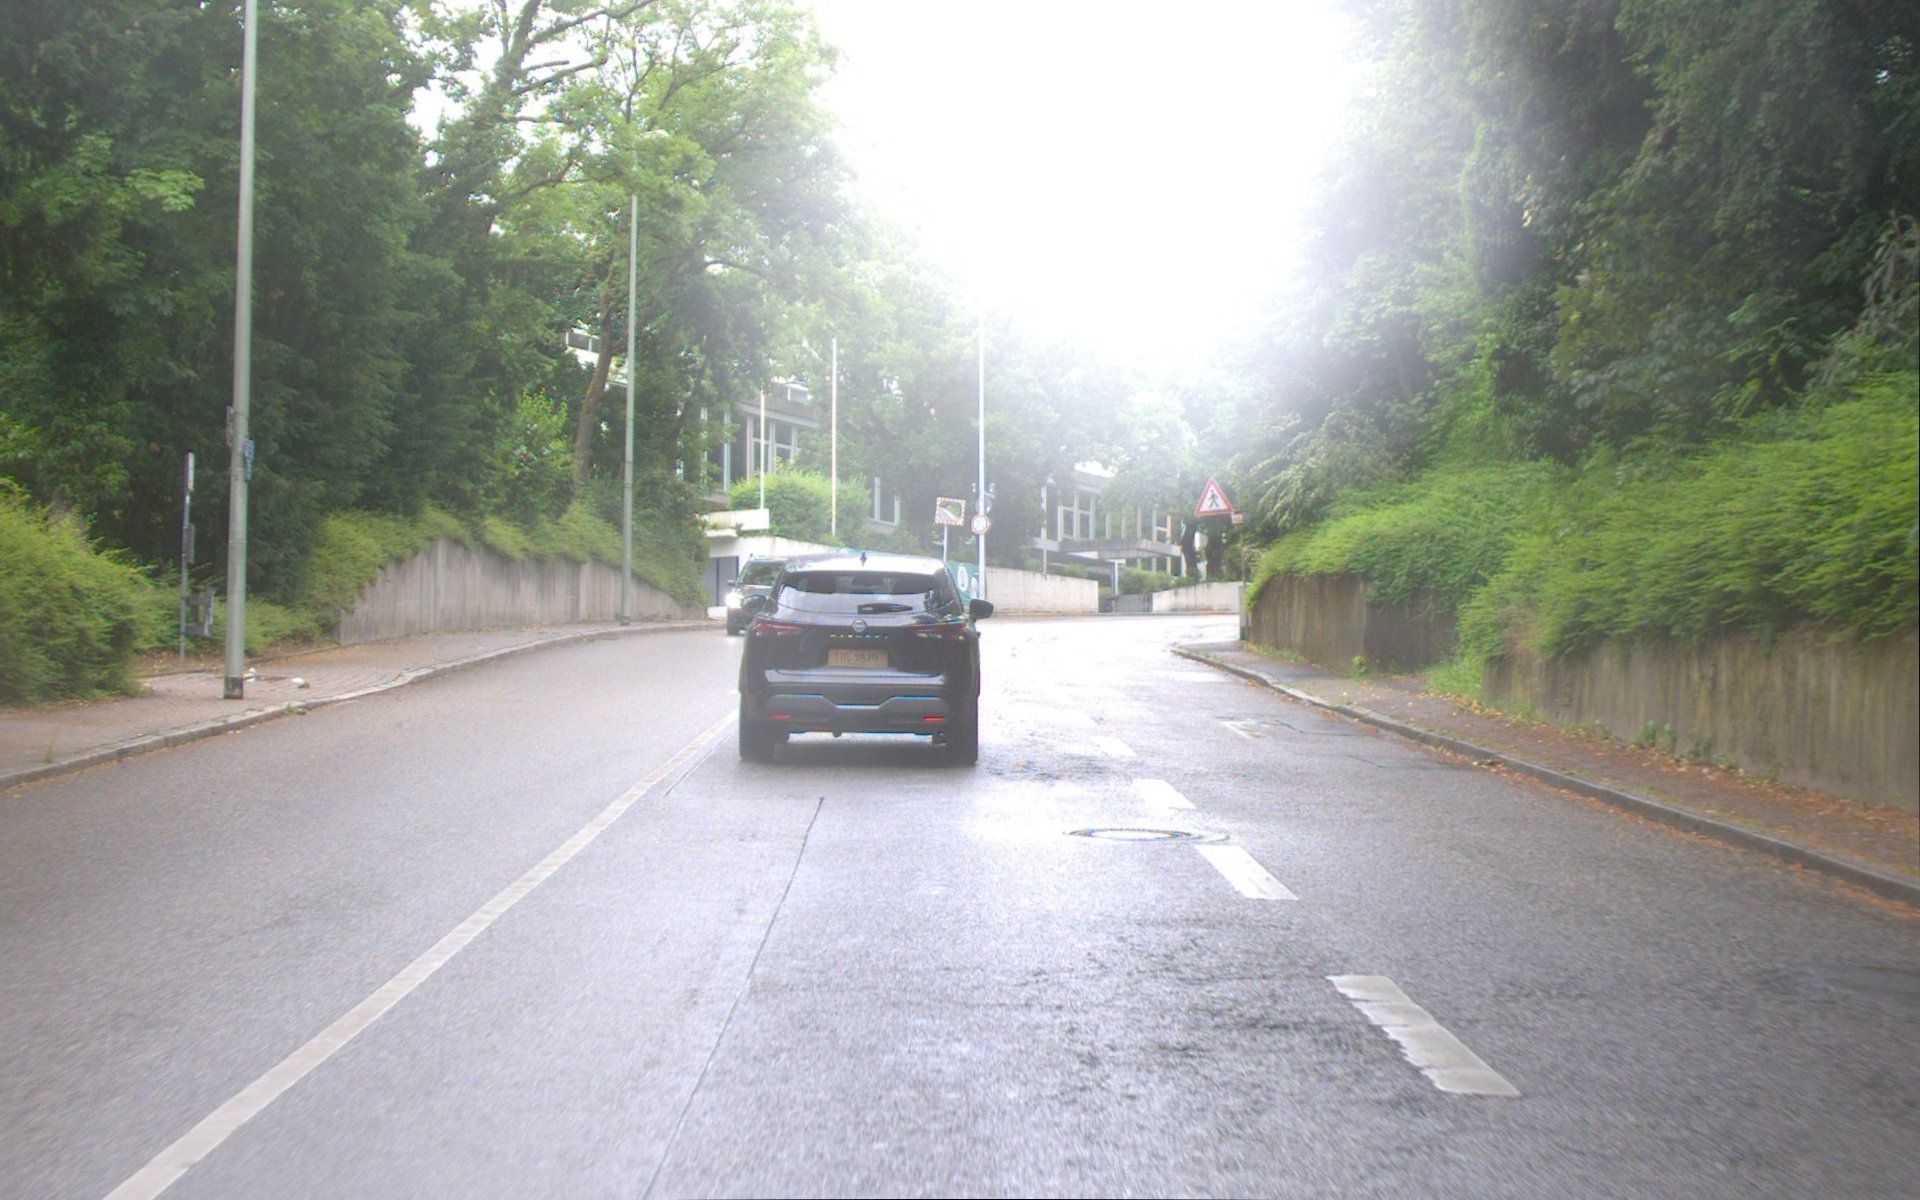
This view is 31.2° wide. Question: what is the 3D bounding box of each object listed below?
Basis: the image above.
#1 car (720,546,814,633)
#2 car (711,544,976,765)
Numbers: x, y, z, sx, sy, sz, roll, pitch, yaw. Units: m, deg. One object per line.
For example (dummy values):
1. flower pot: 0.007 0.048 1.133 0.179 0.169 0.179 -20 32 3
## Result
1. car: -3.955 -0.236 71.078 1.830 1.705 4.000 1 1 -2
2. car: -0.882 0.378 27.291 1.928 1.607 4.000 1 1 -1
